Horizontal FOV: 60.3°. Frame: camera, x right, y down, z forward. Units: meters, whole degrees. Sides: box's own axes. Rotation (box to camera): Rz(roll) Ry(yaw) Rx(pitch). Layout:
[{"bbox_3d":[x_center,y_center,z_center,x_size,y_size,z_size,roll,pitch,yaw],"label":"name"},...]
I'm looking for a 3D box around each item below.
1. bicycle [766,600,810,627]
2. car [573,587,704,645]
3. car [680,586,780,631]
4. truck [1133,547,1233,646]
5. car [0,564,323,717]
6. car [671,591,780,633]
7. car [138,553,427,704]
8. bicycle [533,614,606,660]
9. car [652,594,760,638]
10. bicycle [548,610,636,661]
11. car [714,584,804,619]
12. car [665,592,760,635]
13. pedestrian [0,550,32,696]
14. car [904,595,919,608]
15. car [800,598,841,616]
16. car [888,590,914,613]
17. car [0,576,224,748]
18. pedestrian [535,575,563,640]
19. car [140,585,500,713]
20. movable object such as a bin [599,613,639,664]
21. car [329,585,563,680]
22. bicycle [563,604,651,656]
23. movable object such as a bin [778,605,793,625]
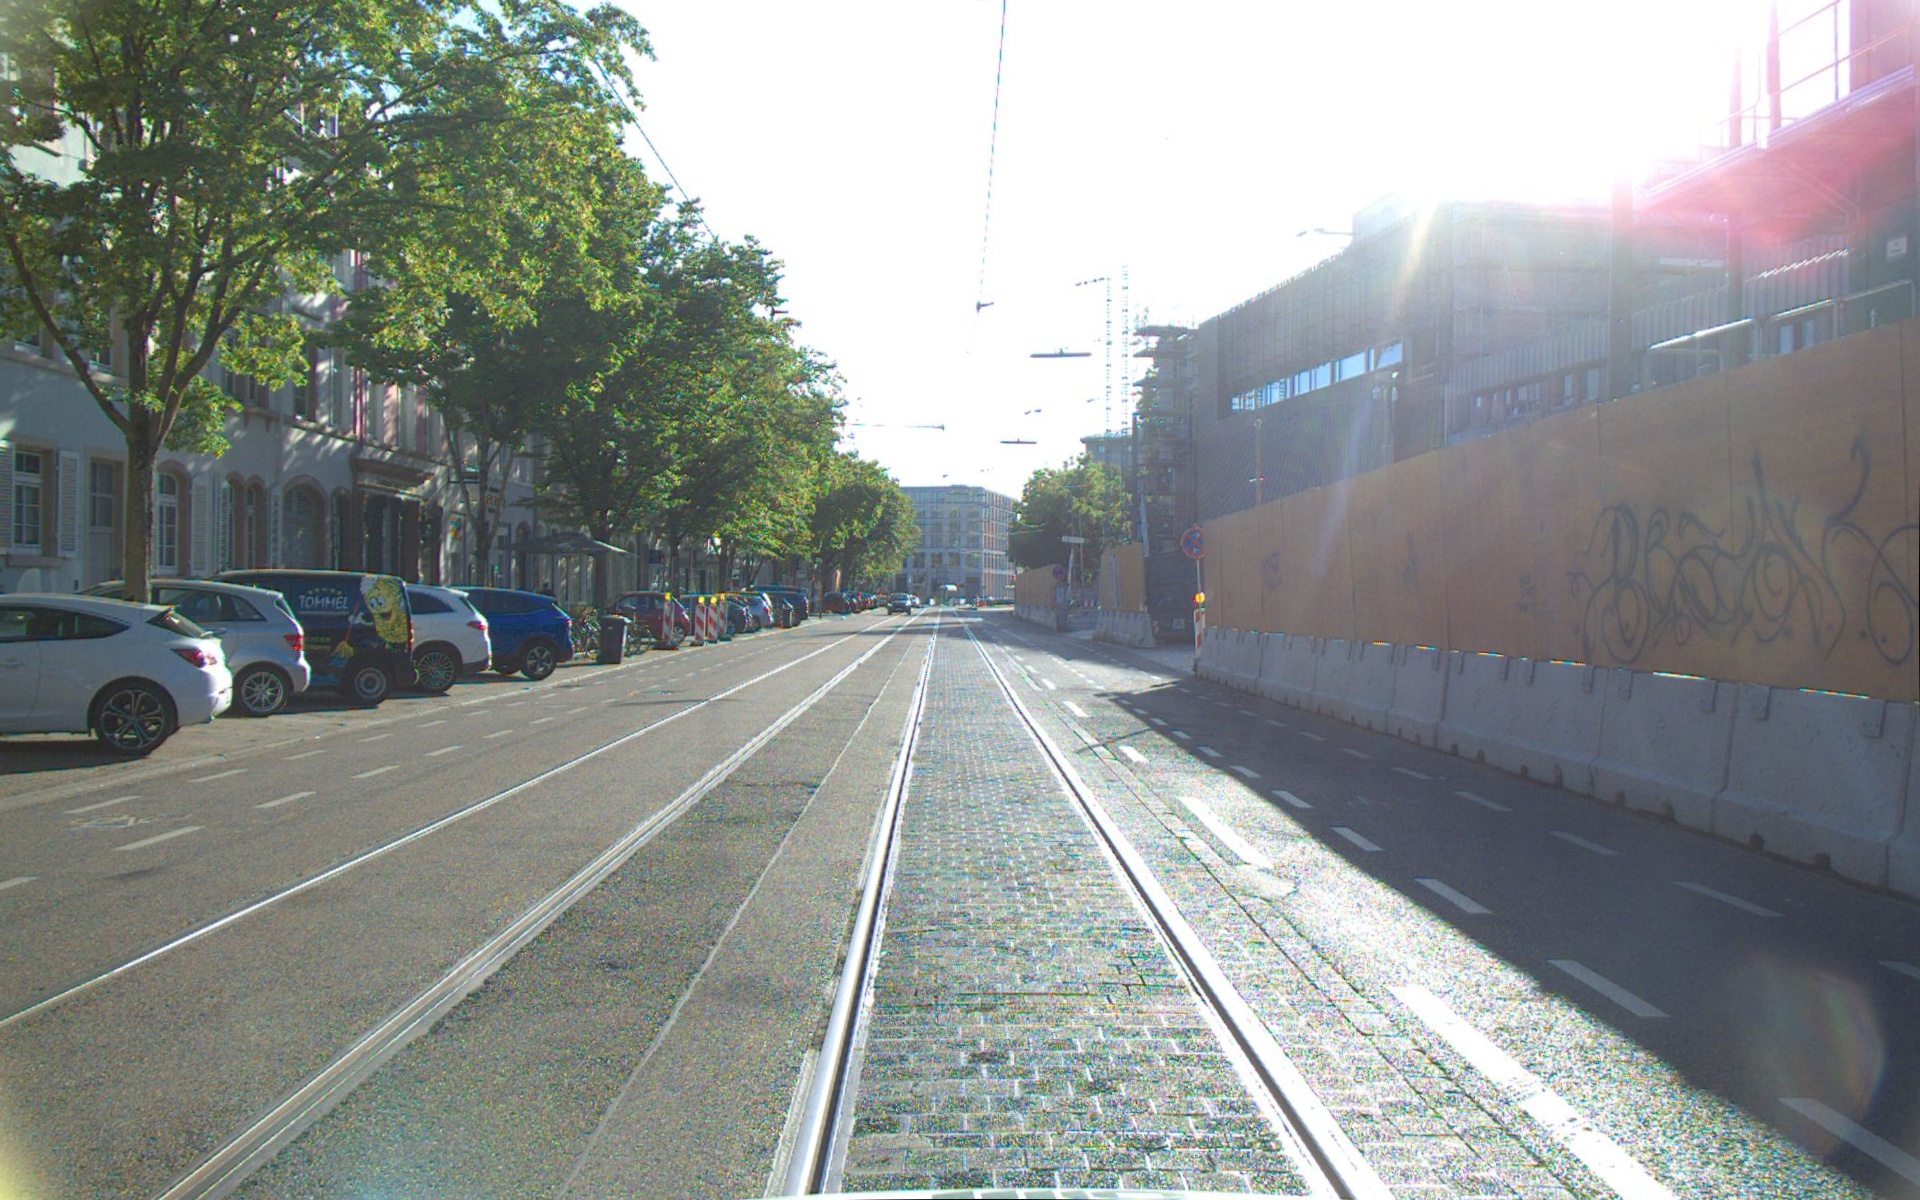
[{"bbox_3d":[-8.120,0.633,78.114,1.935,1.164,0.490,2,-1,-19],"label":"bicycle"},{"bbox_3d":[-9.718,0.480,50.001,3.570,1.580,1.655,2,1,-27],"label":"car"},{"bbox_3d":[-9.915,0.369,71.479,4.022,1.707,1.840,3,0,-3],"label":"car"},{"bbox_3d":[7.155,-0.108,53.738,2.468,2.959,5.507,-2,0,1],"label":"truck"},{"bbox_3d":[-10.095,0.495,20.321,3.946,1.685,1.792,3,0,-31],"label":"car"},{"bbox_3d":[-9.644,0.505,68.021,4.055,1.539,1.825,2,0,-27],"label":"car"},{"bbox_3d":[-9.401,0.440,23.008,3.403,1.875,1.713,4,-3,-34],"label":"car"},{"bbox_3d":[-8.951,0.847,37.952,1.571,1.005,0.388,2,0,-11],"label":"bicycle"},{"bbox_3d":[-9.542,0.613,62.262,3.632,1.496,1.736,3,-1,-30],"label":"car"},{"bbox_3d":[-8.819,0.848,39.661,1.927,1.098,0.568,3,0,2],"label":"bicycle"},{"bbox_3d":[-10.025,0.064,82.550,4.175,1.714,1.799,0,0,-22],"label":"car"},{"bbox_3d":[-9.736,0.533,65.119,3.325,1.519,1.598,2,0,-29],"label":"car"},{"bbox_3d":[-12.566,0.299,21.511,0.630,1.870,0.624,0,0,1],"label":"pedestrian"},{"bbox_3d":[-5.549,0.173,189.459,1.675,1.461,4.169,0,0,-2],"label":"car"},{"bbox_3d":[-10.745,0.571,127.466,2.900,1.355,1.204,0,0,-29],"label":"car"},{"bbox_3d":[-4.649,0.098,130.381,1.889,1.657,4.248,-3,1,-1],"label":"car"},{"bbox_3d":[-9.290,0.552,16.204,3.583,1.556,1.875,3,-1,-21],"label":"car"},{"bbox_3d":[-13.042,0.227,52.493,0.716,2.049,0.556,0,0,1],"label":"pedestrian"},{"bbox_3d":[-9.935,0.711,25.815,4.883,1.826,2.182,1,0,-35],"label":"car"},{"bbox_3d":[-7.701,0.871,37.358,0.670,1.096,0.710,3,0,1],"label":"movable object such as a bin"},{"bbox_3d":[-9.480,0.553,30.642,3.861,1.637,1.552,-1,0,-38],"label":"car"},{"bbox_3d":[-8.742,0.740,40.962,1.962,1.106,0.567,5,0,2],"label":"bicycle"},{"bbox_3d":[-8.152,0.697,77.284,0.566,0.929,0.573,2,1,-16],"label":"movable object such as a bin"}]
